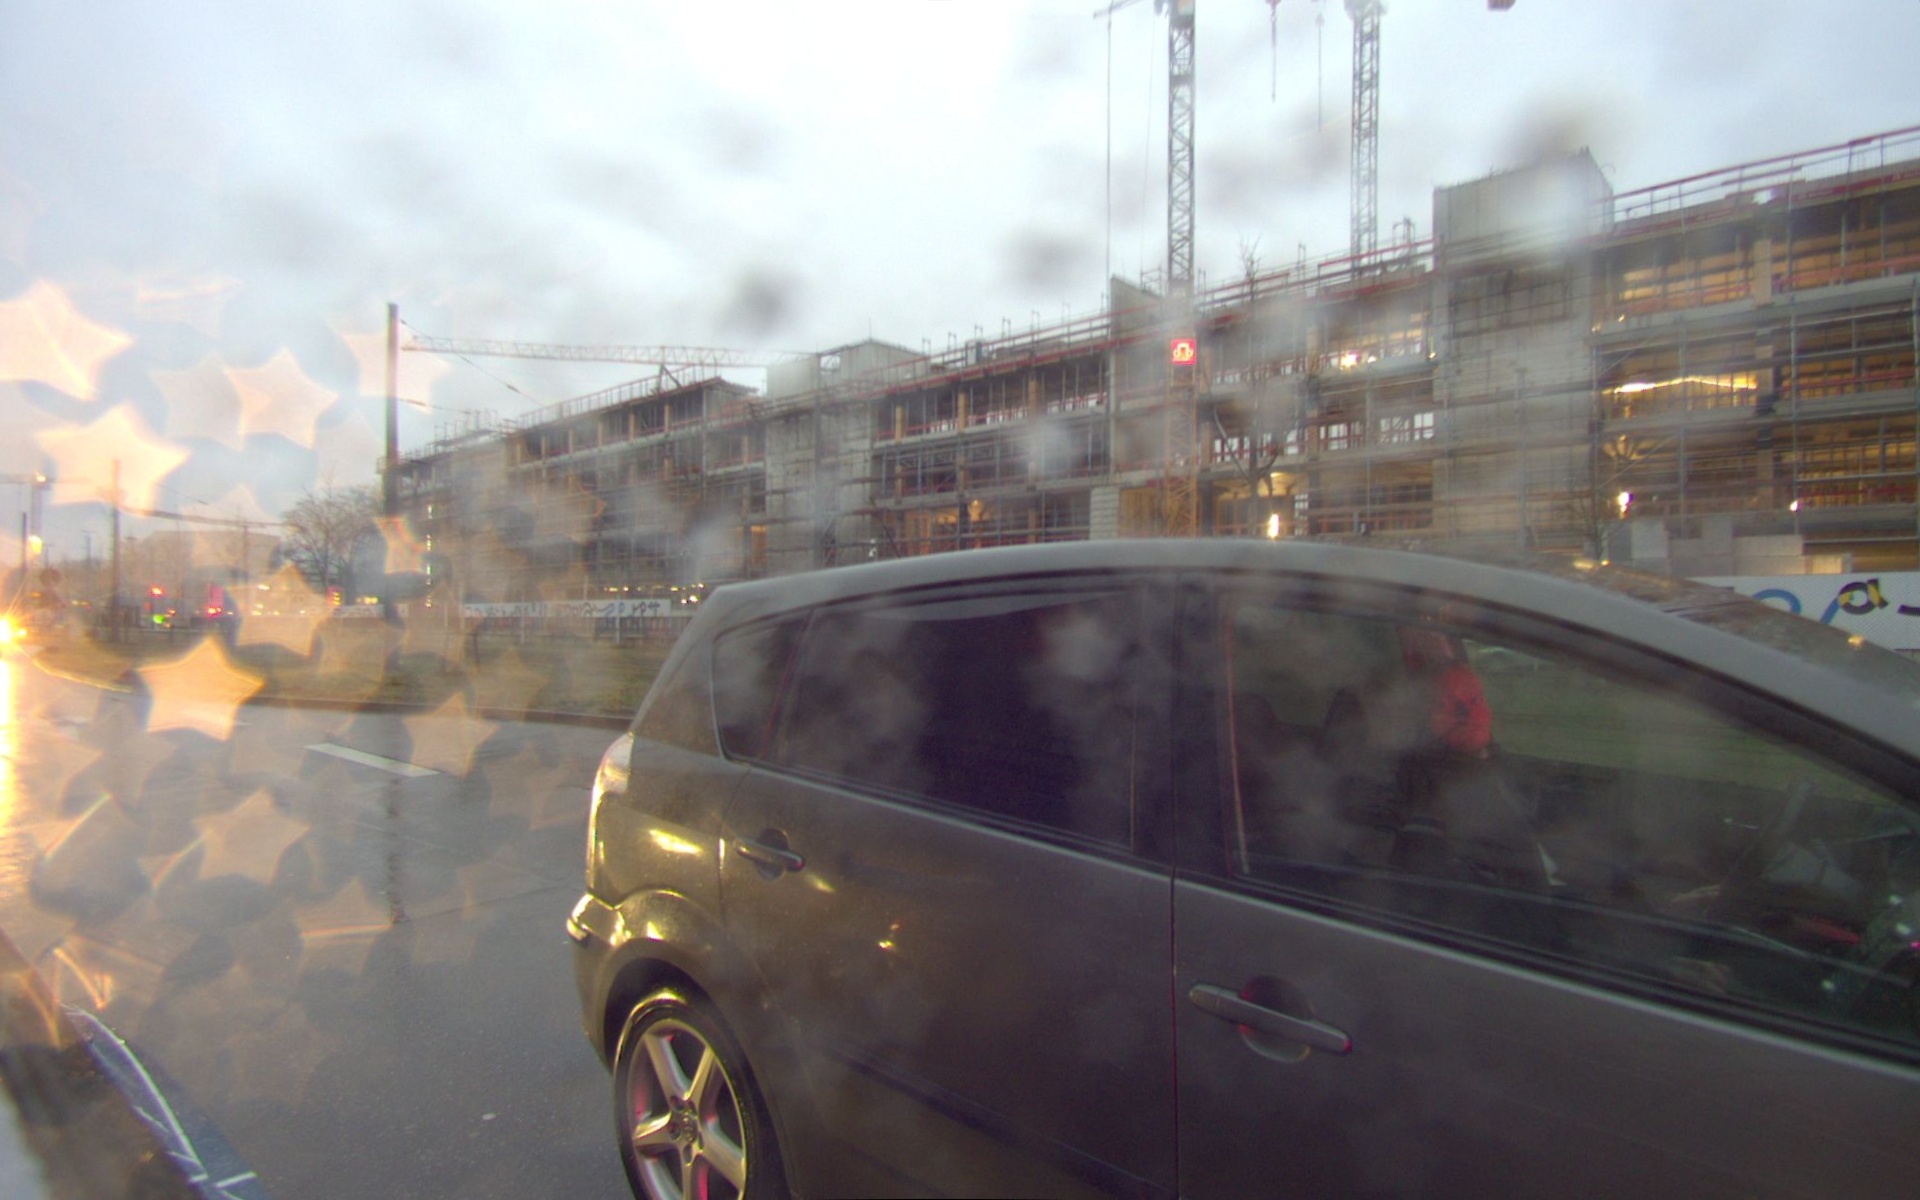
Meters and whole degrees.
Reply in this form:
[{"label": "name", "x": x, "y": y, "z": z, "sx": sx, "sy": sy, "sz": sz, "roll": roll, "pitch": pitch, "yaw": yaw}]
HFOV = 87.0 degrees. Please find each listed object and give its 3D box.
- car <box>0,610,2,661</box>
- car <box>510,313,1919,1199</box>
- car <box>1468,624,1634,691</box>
[{"label": "car", "x": -35.052, "y": 1.262, "z": 35.523, "sx": 4.000, "sy": 1.746, "sz": 1.833, "roll": -1, "pitch": 0, "yaw": 43}, {"label": "car", "x": 1.017, "y": 0.554, "z": 1.841, "sx": 3.996, "sy": 1.606, "sz": 1.742, "roll": -1, "pitch": 0, "yaw": 39}, {"label": "car", "x": 17.524, "y": 1.638, "z": 30.087, "sx": 3.997, "sy": 1.785, "sz": 1.973, "roll": -1, "pitch": 0, "yaw": 40}]
